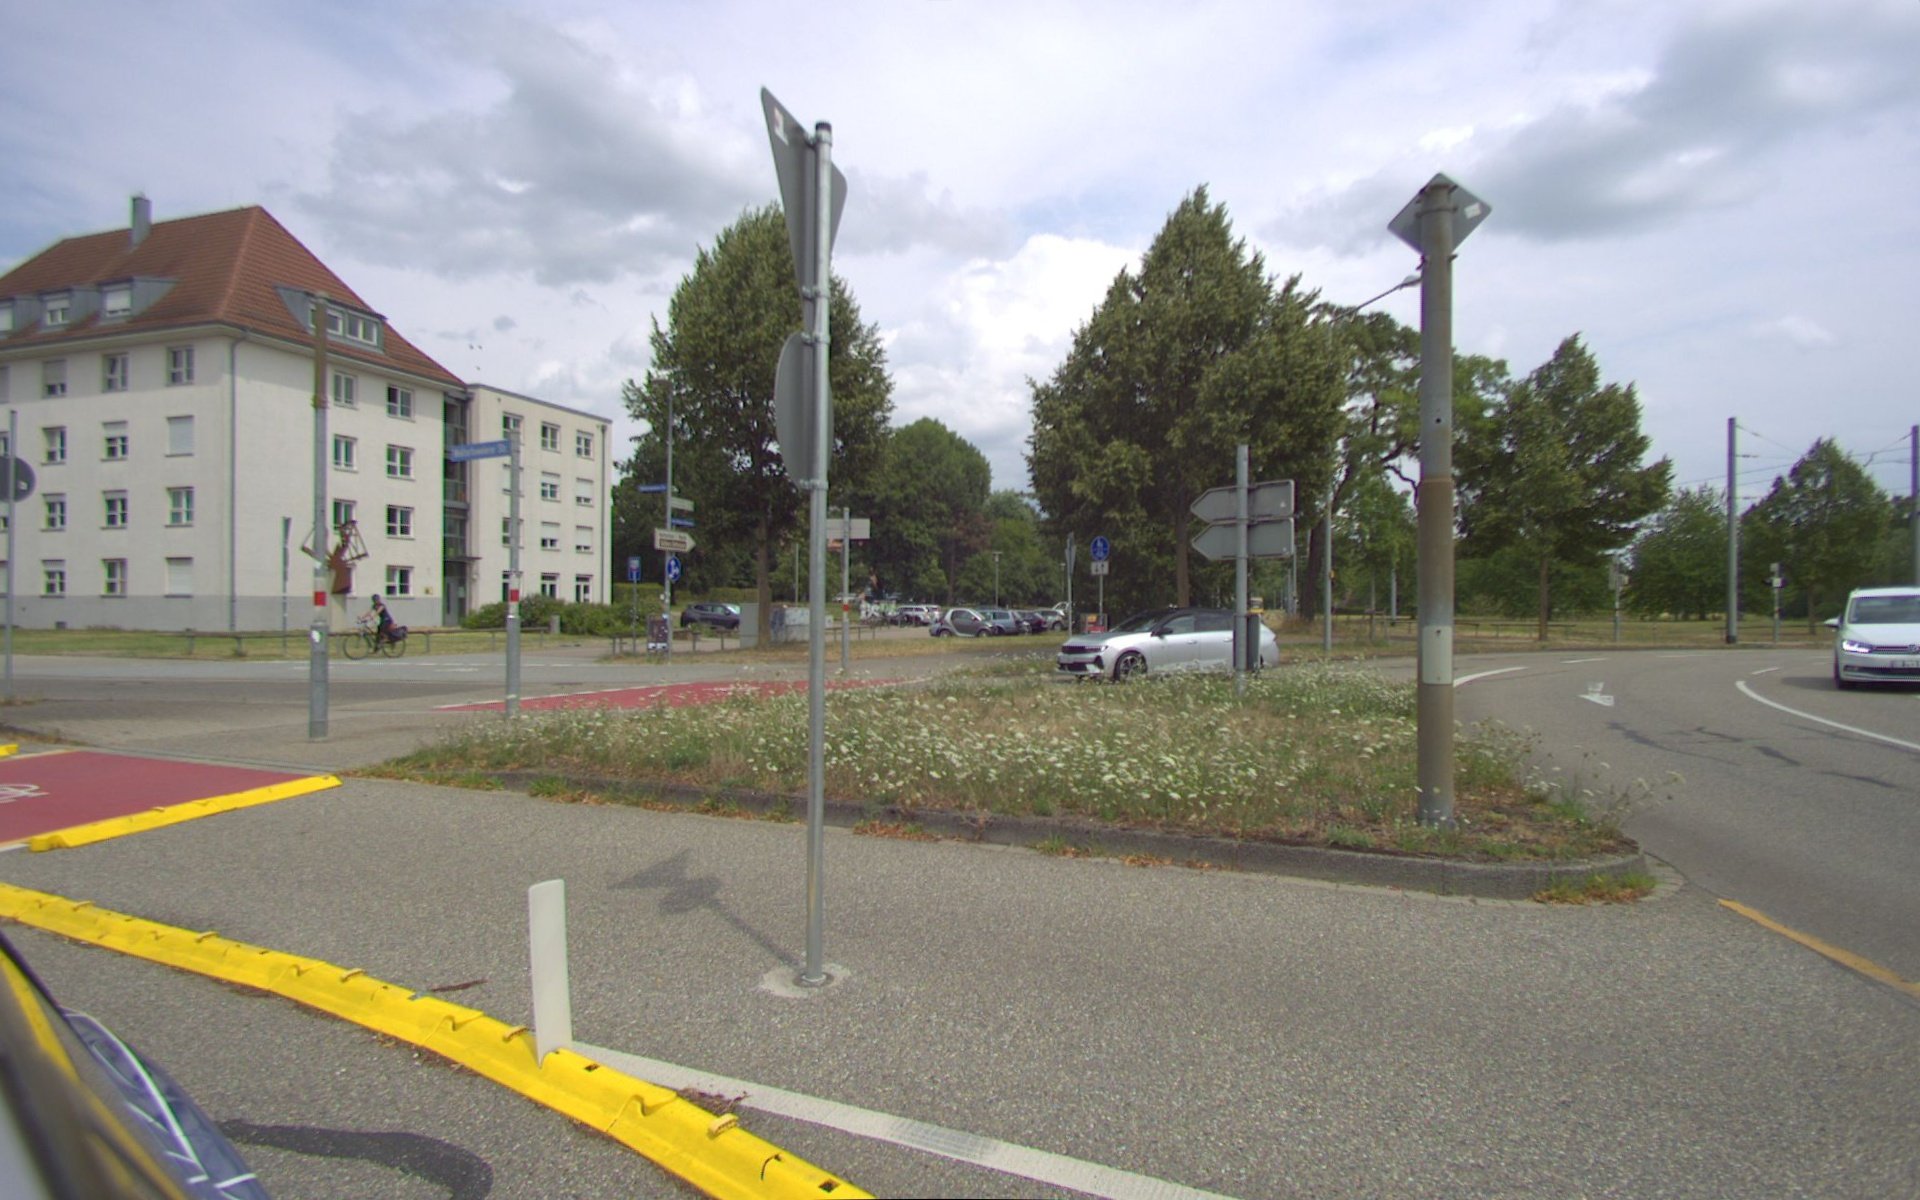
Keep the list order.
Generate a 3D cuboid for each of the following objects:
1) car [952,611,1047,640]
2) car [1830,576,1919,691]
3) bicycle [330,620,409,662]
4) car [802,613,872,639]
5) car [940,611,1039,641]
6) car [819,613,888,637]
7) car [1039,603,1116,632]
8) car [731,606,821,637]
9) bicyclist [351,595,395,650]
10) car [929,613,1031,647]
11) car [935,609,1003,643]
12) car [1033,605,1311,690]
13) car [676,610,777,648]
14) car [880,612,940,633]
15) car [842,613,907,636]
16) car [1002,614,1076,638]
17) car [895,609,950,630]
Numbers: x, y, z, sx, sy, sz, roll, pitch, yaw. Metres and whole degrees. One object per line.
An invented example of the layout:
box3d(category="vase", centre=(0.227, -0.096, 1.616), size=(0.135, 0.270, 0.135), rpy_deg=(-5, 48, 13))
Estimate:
box3d(category="car", centre=(2.120, 1.356, 54.531), size=(4.850, 1.482, 1.822), rpy_deg=(0, 0, 19))
box3d(category="car", centre=(15.457, 0.523, 16.259), size=(1.939, 1.678, 4.292), rpy_deg=(-3, -3, 44))
box3d(category="bicycle", centre=(-15.626, 1.063, 26.824), size=(0.598, 1.054, 1.814), rpy_deg=(-1, -1, 25))
box3d(category="car", centre=(-7.572, 1.579, 62.164), size=(3.973, 1.479, 1.606), rpy_deg=(0, 0, 17))
box3d(category="car", centre=(1.527, 1.320, 52.212), size=(4.850, 1.482, 1.822), rpy_deg=(0, 0, 19))
box3d(category="car", centre=(-6.729, 1.595, 64.118), size=(3.973, 1.479, 1.807), rpy_deg=(0, -1, 17))
box3d(category="car", centre=(8.829, 1.293, 76.000), size=(5.521, 2.071, 2.189), rpy_deg=(0, 0, 17))
box3d(category="car", centre=(-9.919, 1.137, 54.647), size=(4.373, 1.610, 1.987), rpy_deg=(0, 0, 20))
box3d(category="bicyclist", centre=(-15.599, 0.594, 26.902), size=(0.598, 1.434, 0.796), rpy_deg=(-1, -1, 25))
box3d(category="car", centre=(0.998, 1.484, 49.488), size=(4.664, 1.482, 1.824), rpy_deg=(-2, -1, 16))
box3d(category="car", centre=(0.418, 1.204, 47.018), size=(2.886, 1.434, 1.478), rpy_deg=(-2, -2, 12))
box3d(category="car", centre=(4.172, 0.854, 19.855), size=(5.093, 1.493, 2.007), rpy_deg=(0, -1, -23))
box3d(category="car", centre=(-11.369, 1.374, 49.366), size=(4.462, 1.778, 1.989), rpy_deg=(0, 0, 17))
box3d(category="car", centre=(-3.644, 1.633, 73.912), size=(3.973, 1.479, 1.807), rpy_deg=(0, 0, 17))
box3d(category="car", centre=(-5.696, 1.609, 67.841), size=(3.973, 1.479, 1.807), rpy_deg=(0, 0, 17))
box3d(category="car", centre=(4.988, 1.629, 63.766), size=(4.352, 1.482, 1.822), rpy_deg=(0, 0, 19))
box3d(category="car", centre=(-2.916, 1.540, 78.590), size=(3.973, 1.586, 1.807), rpy_deg=(-1, -1, 17))
